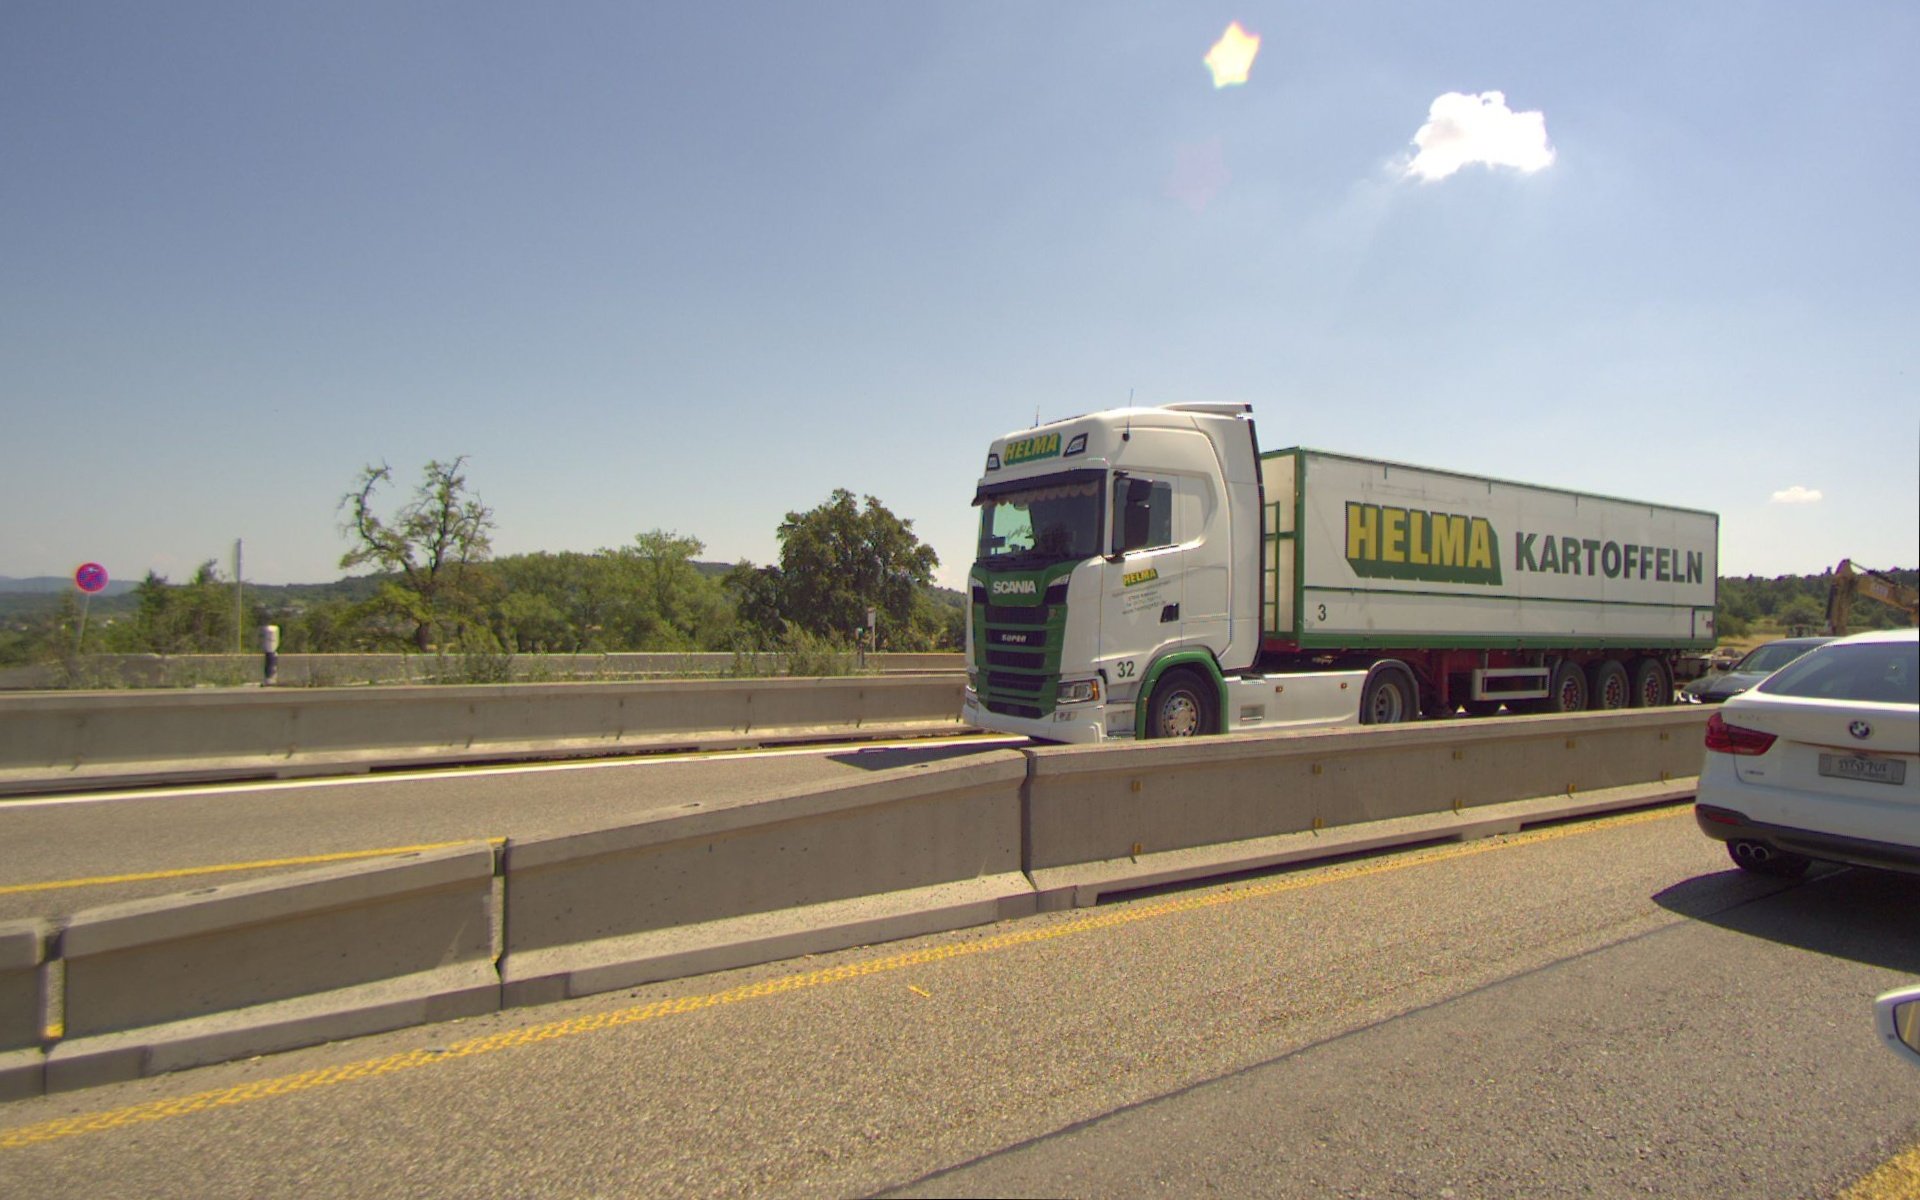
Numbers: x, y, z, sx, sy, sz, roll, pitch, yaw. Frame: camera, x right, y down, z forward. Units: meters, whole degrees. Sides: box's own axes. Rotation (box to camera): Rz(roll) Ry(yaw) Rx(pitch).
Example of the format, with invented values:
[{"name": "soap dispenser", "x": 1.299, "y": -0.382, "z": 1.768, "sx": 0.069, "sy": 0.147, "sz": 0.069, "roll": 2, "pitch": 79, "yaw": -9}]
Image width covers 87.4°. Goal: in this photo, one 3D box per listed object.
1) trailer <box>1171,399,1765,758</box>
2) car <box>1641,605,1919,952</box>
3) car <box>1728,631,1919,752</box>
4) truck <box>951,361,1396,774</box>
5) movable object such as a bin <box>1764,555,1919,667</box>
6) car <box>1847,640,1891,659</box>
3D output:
[{"name": "trailer", "x": 8.791, "y": -0.113, "z": 16.054, "sx": 12.359, "sy": 4.207, "sz": 2.340, "roll": 2, "pitch": 0, "yaw": -32}, {"name": "car", "x": 6.388, "y": 0.867, "z": 5.966, "sx": 5.010, "sy": 1.555, "sz": 1.788, "roll": 2, "pitch": -1, "yaw": -28}, {"name": "car", "x": 13.511, "y": 1.256, "z": 14.642, "sx": 4.473, "sy": 1.497, "sz": 1.750, "roll": 2, "pitch": 0, "yaw": -24}, {"name": "truck", "x": 2.681, "y": -0.270, "z": 12.283, "sx": 5.023, "sy": 4.061, "sz": 2.434, "roll": 2, "pitch": 0, "yaw": -33}, {"name": "movable object such as a bin", "x": 39.090, "y": 0.510, "z": 42.044, "sx": 9.154, "sy": 4.387, "sz": 2.930, "roll": 1, "pitch": 0, "yaw": -8}, {"name": "car", "x": 74.956, "y": 4.085, "z": 82.846, "sx": 4.399, "sy": 1.428, "sz": 1.602, "roll": 2, "pitch": 0, "yaw": -33}]
